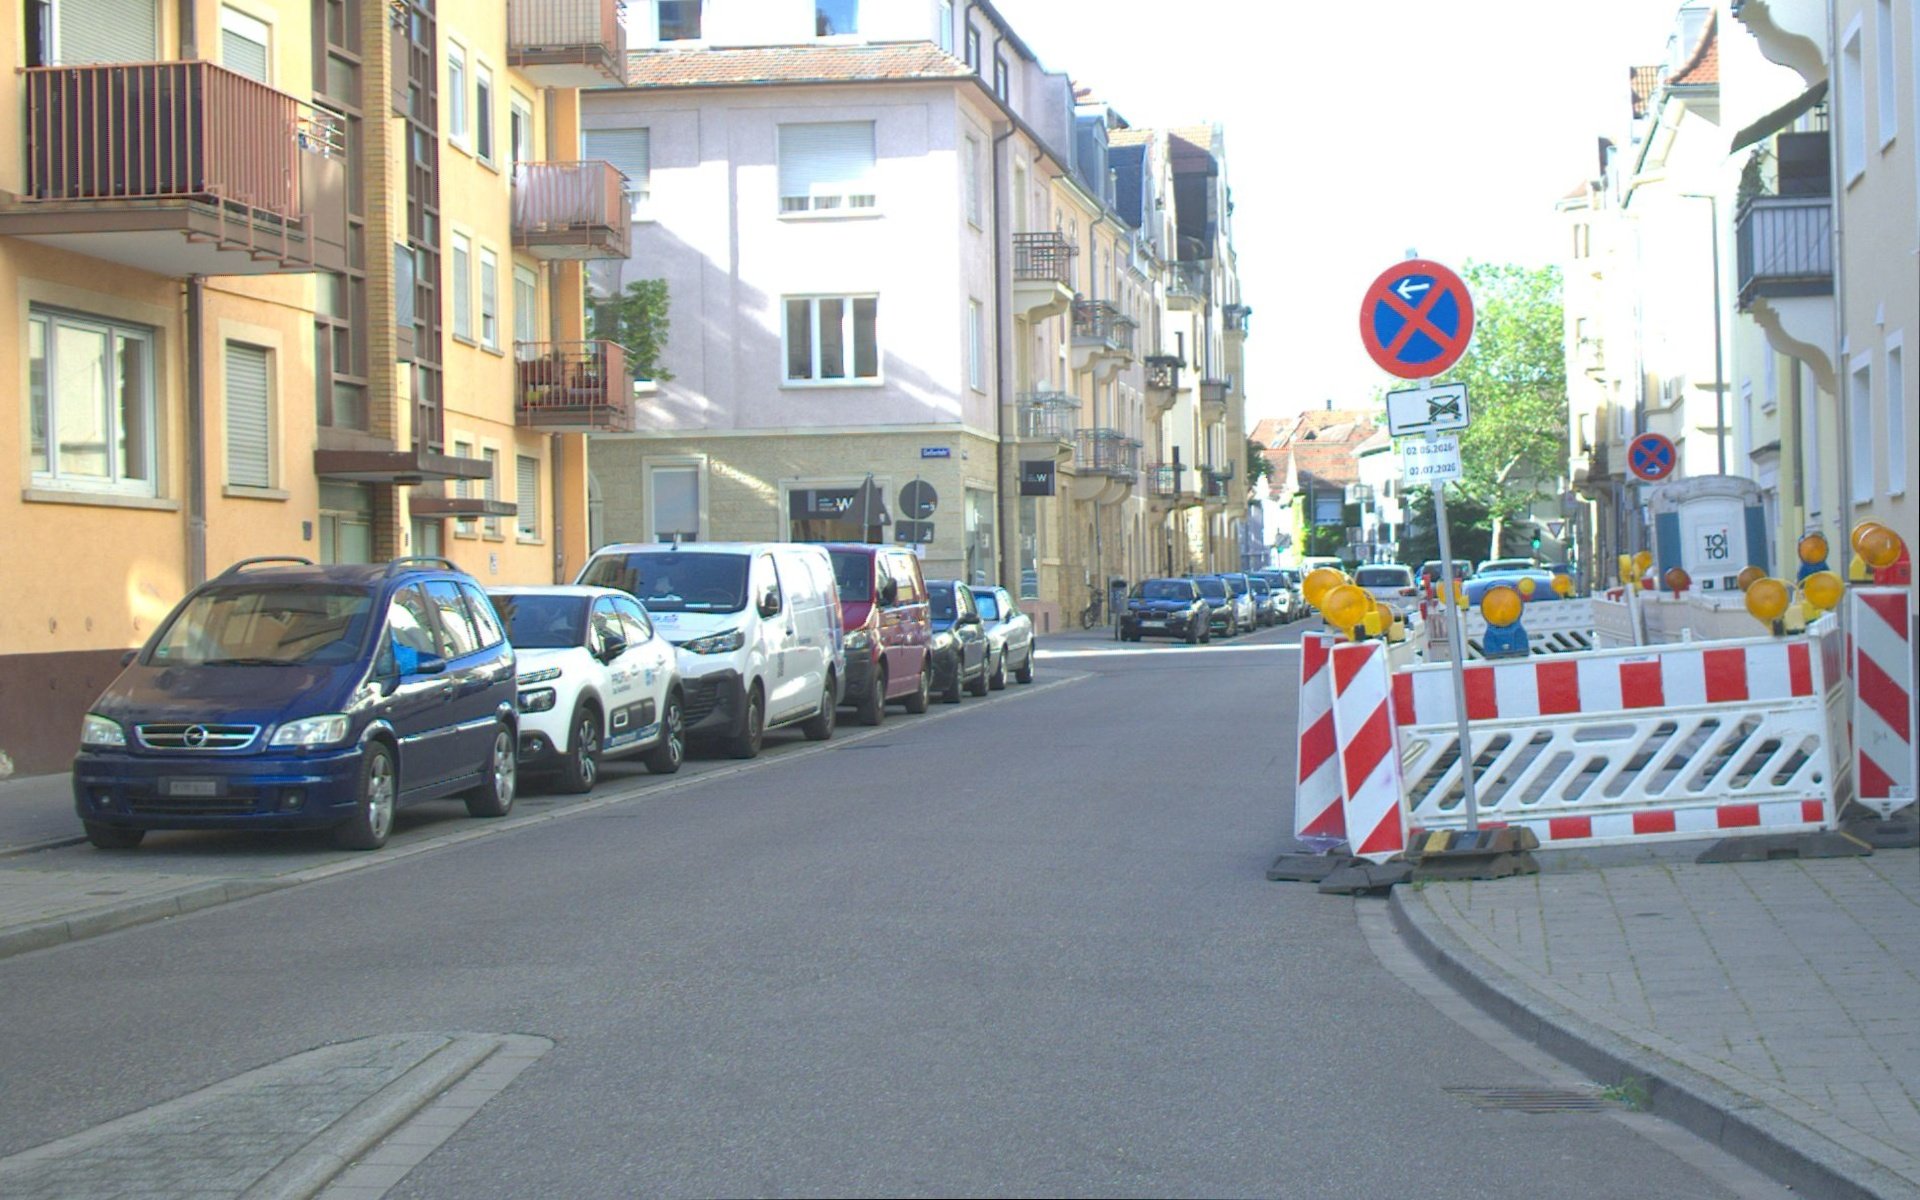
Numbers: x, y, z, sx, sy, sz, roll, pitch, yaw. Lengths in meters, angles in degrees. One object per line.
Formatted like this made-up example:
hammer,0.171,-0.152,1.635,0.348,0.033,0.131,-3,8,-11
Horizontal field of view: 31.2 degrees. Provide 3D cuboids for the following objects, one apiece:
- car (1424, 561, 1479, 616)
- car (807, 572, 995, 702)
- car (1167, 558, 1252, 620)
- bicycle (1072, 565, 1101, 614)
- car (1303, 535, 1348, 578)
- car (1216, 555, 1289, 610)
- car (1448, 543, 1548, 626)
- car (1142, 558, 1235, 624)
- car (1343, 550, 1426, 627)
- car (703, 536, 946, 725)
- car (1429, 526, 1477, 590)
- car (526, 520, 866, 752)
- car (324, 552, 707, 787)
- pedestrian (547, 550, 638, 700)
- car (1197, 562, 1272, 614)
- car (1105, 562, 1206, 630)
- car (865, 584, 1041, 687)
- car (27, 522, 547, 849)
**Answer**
car,18.746,-0.430,131.274,2.004,1.993,4.486,1,0,8
car,-0.685,0.431,43.084,1.763,1.497,3.999,-2,0,7
car,6.799,-0.287,93.346,2.004,1.613,4.486,1,0,8
bicycle,3.376,-0.280,91.635,0.541,1.297,1.866,0,0,10
car,17.667,-2.090,165.951,2.004,1.993,4.486,1,0,8
car,9.106,-0.528,106.632,2.004,1.613,4.486,1,0,8
car,11.619,-0.306,74.051,1.914,1.639,4.771,-2,-1,11
car,5.768,-0.218,86.358,2.004,1.577,4.486,1,0,8
car,11.112,-0.289,89.729,2.004,1.907,4.485,1,0,8
car,-1.393,0.290,37.420,1.763,1.918,4.933,0,1,8
car,21.075,-1.772,146.882,1.839,2.525,4.174,-2,-2,9
car,-2.278,0.274,31.276,1.976,1.918,5.307,0,1,8
car,-3.234,0.461,25.879,1.763,1.615,4.293,0,1,8
pedestrian,-4.478,0.298,41.993,0.924,1.811,0.994,0,0,5
car,8.162,-0.350,101.971,1.979,1.477,4.326,1,0,8
car,4.307,-0.074,75.355,1.680,1.421,4.272,1,0,10
car,-0.042,0.465,48.169,1.763,1.373,4.476,0,0,9
car,-3.922,0.444,20.800,1.763,1.765,4.293,0,1,8
